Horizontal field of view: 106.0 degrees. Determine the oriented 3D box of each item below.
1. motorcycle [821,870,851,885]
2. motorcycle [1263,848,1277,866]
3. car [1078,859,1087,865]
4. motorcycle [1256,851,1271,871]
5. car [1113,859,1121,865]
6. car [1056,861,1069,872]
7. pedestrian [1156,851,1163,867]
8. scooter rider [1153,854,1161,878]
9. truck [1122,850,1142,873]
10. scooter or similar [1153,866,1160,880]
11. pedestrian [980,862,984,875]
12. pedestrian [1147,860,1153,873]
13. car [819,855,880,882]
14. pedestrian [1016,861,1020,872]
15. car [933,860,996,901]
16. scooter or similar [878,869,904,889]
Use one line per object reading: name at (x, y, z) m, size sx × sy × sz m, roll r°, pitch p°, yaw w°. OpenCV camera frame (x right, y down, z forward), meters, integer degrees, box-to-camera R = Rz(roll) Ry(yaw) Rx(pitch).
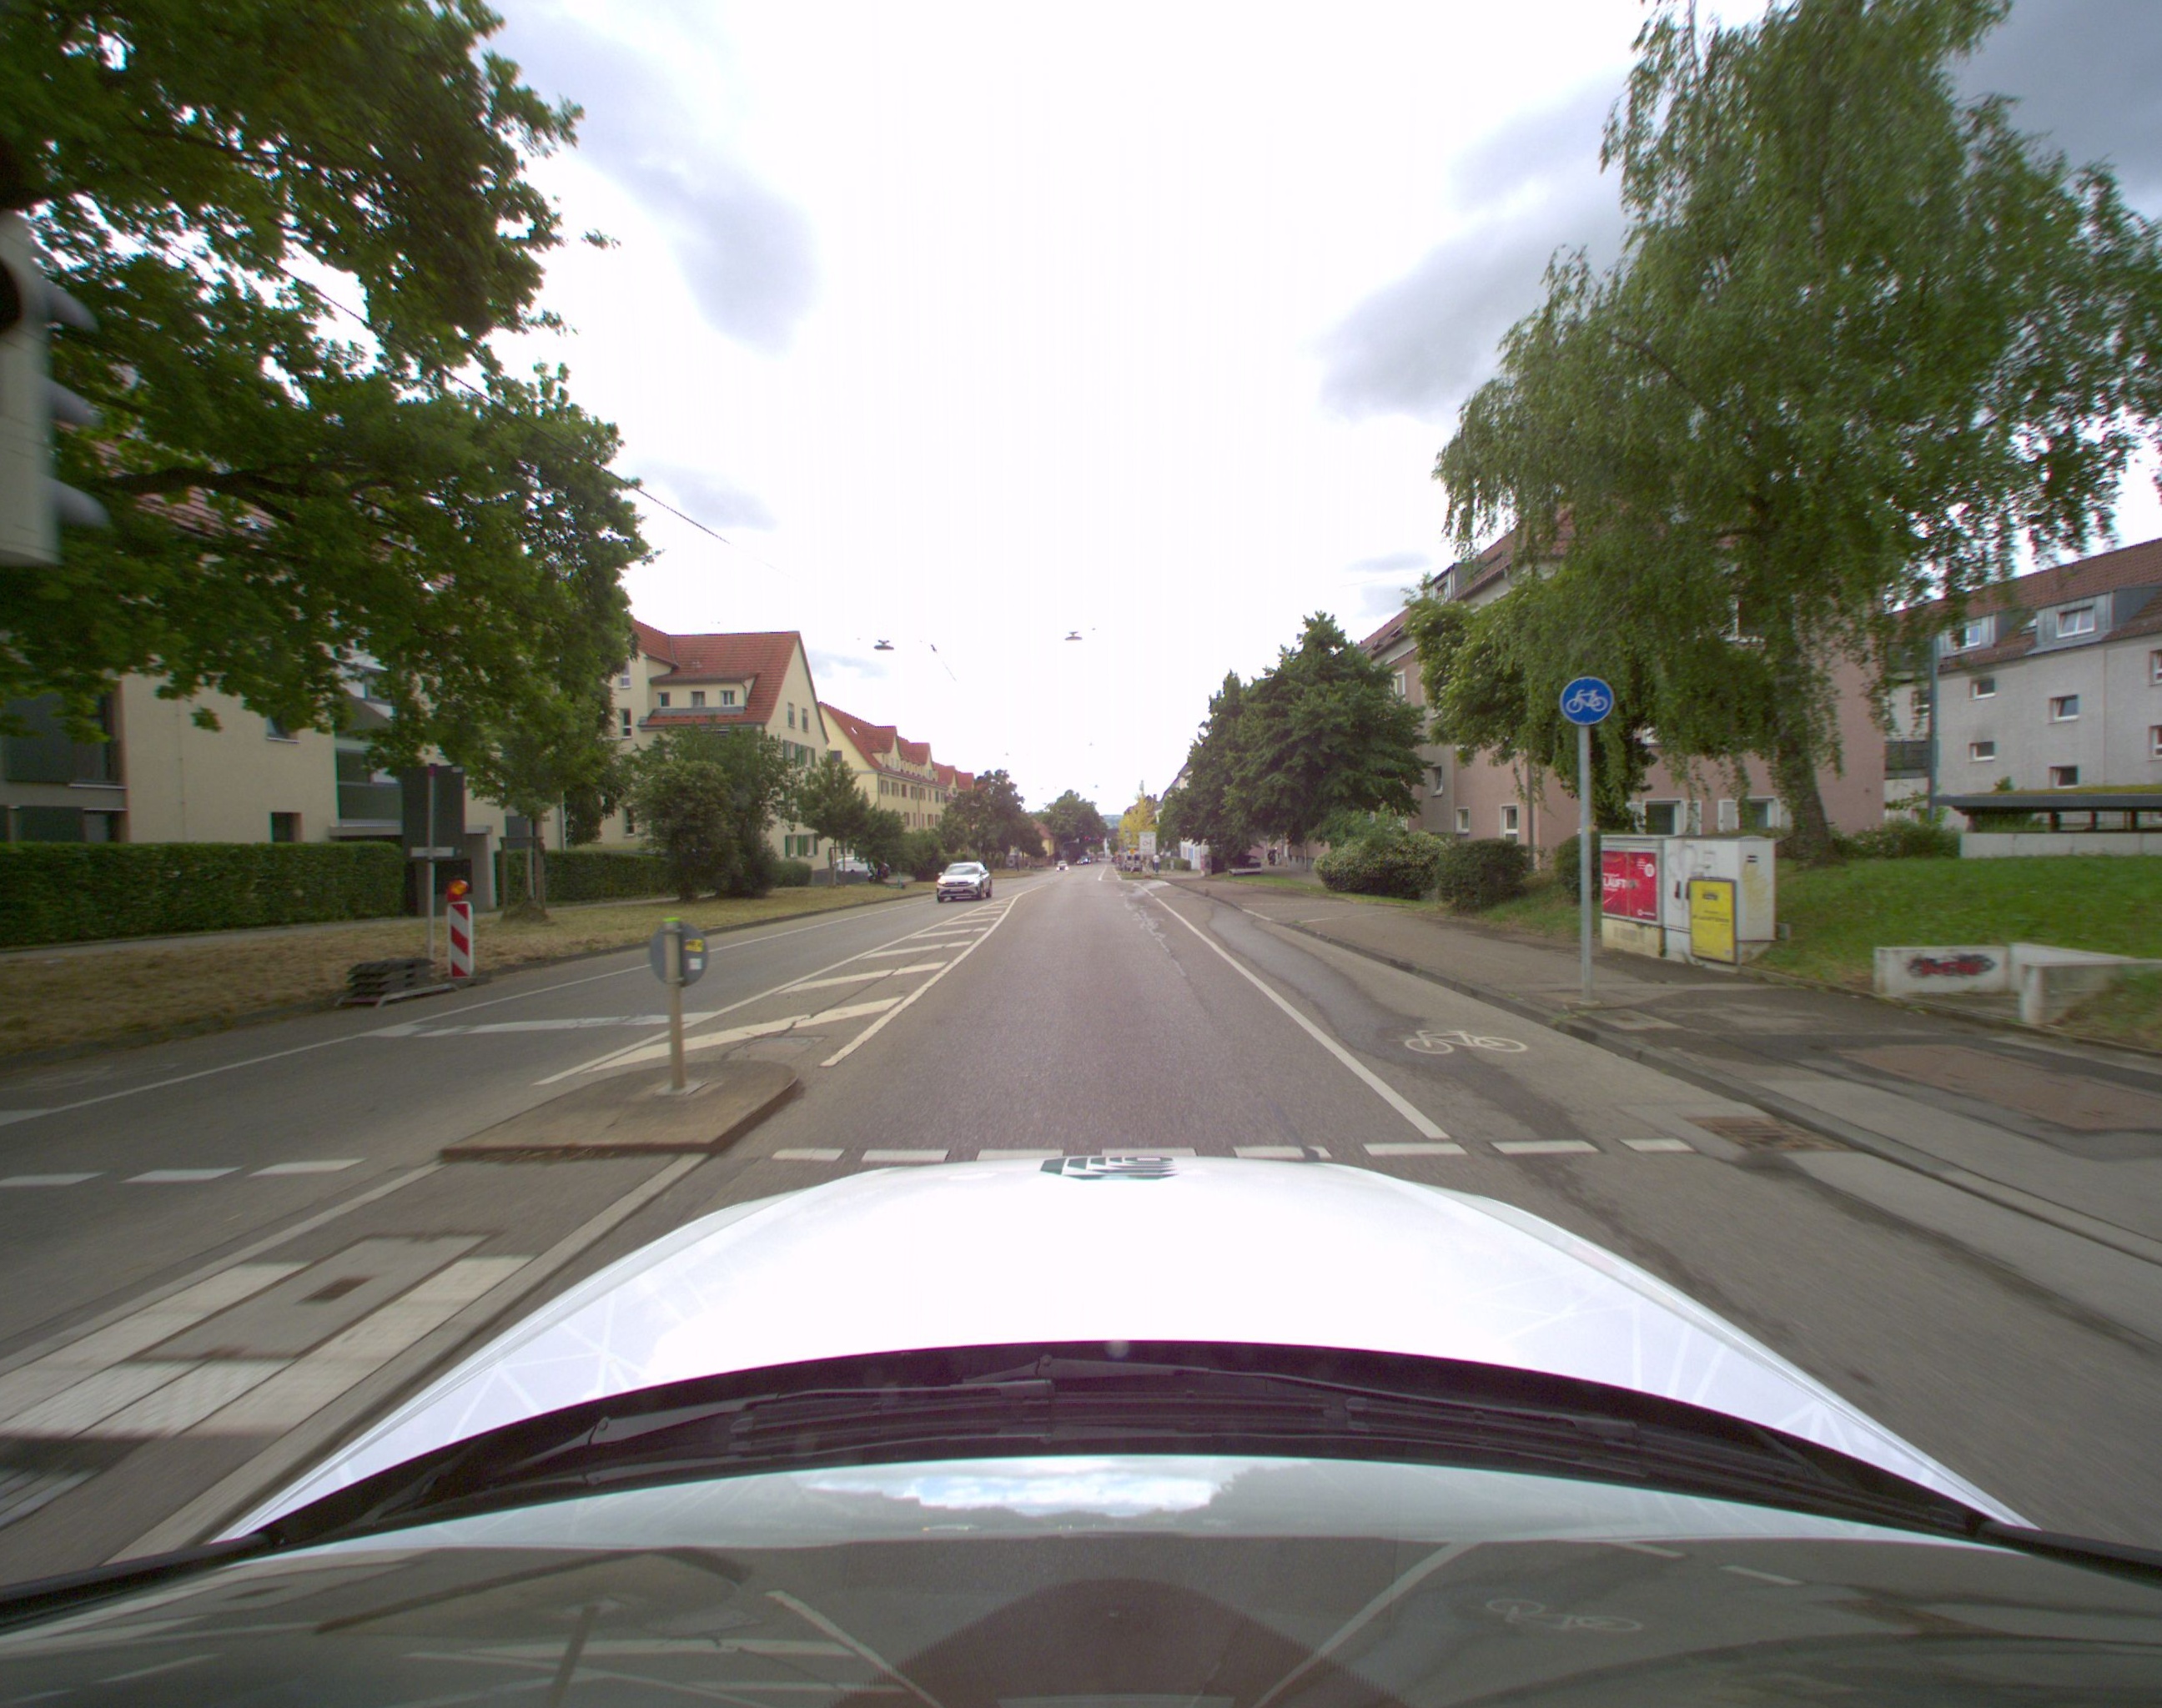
motorcycle at (-20.466, 1.949, 68.083) m, size 2.572 × 1.279 × 1.023 m, roll -1°, pitch 0°, yaw 34°
motorcycle at (13.810, 0.224, 59.423) m, size 0.588 × 1.227 × 1.968 m, roll -1°, pitch 0°, yaw 1°
car at (0.390, 1.984, 203.784) m, size 1.748 × 1.472 × 4.312 m, roll -2°, pitch 0°, yaw 5°
motorcycle at (14.773, 0.547, 65.797) m, size 0.728 × 1.569 × 2.552 m, roll -1°, pitch 0°, yaw 2°
car at (11.588, 2.669, 262.206) m, size 1.988 × 1.936 × 4.917 m, roll -1°, pitch 0°, yaw -1°
car at (-3.063, 2.039, 133.806) m, size 1.892 × 1.620 × 4.364 m, roll -1°, pitch 0°, yaw 2°
pedestrian at (9.653, 0.623, 99.997) m, size 0.670 × 1.887 × 0.763 m, roll -1°, pitch -2°, yaw -11°
scooter rider at (6.444, 1.013, 69.263) m, size 0.623 × 2.014 × 0.758 m, roll -1°, pitch -1°, yaw 1°
truck at (5.884, 0.859, 94.926) m, size 2.045 × 2.565 × 5.690 m, roll -1°, pitch 0°, yaw 1°
scooter or similar at (6.423, 1.637, 69.287) m, size 0.489 × 1.163 × 2.075 m, roll -1°, pitch 0°, yaw 1°
pedestrian at (-14.122, 2.072, 116.482) m, size 0.511 × 1.780 × 0.753 m, roll -1°, pitch -1°, yaw 1°
pedestrian at (8.533, 1.556, 100.584) m, size 0.577 × 1.644 × 0.559 m, roll -1°, pitch -2°, yaw -13°
car at (-20.382, 1.261, 71.762) m, size 4.700 × 2.253 × 1.996 m, roll -1°, pitch -1°, yaw 2°
pedestrian at (-9.776, 1.972, 126.108) m, size 0.594 × 1.727 × 0.862 m, roll 0°, pitch -1°, yaw 4°
car at (-4.620, 1.027, 32.818) m, size 1.795 × 1.464 × 4.030 m, roll -3°, pitch 0°, yaw 1°
scooter or similar at (-10.832, 1.428, 46.431) m, size 1.367 × 1.086 × 0.466 m, roll -2°, pitch 0°, yaw -3°
